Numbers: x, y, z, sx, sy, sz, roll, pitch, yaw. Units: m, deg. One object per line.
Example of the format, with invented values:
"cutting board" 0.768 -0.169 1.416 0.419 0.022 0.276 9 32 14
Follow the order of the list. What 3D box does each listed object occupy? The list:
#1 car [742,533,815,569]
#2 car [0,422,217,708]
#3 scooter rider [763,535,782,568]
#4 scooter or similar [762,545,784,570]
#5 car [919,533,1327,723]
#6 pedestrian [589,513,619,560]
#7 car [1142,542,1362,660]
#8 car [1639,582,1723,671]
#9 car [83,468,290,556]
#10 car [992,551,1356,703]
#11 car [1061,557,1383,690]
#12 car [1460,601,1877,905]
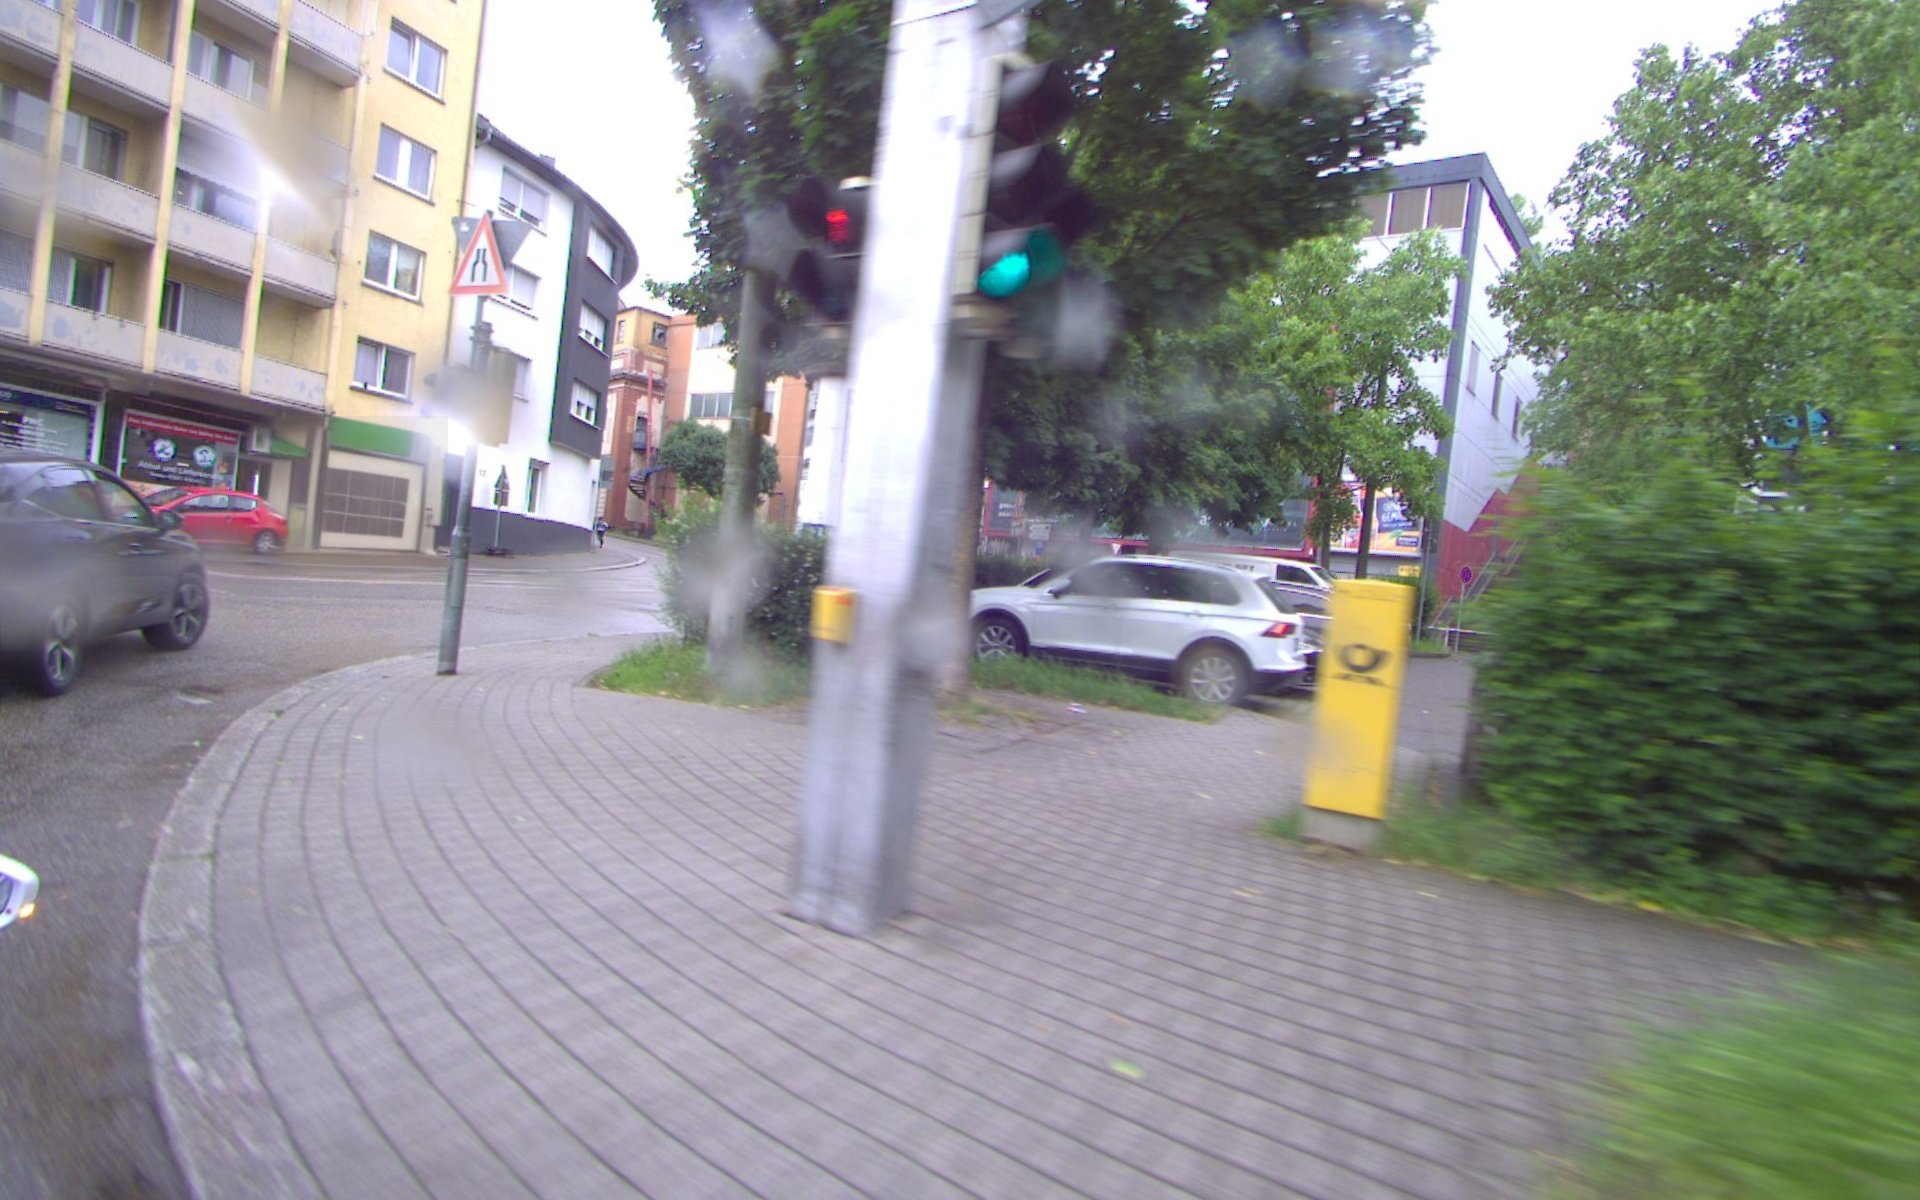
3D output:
"car" -10.894 -2.957 60.200 4.648 1.734 1.913 7 3 44
"car" -7.209 -0.397 7.339 1.940 1.674 3.976 5 1 -24
"scooter rider" -10.675 -2.768 57.285 0.664 1.831 0.678 3 4 -37
"scooter or similar" -10.671 -2.398 57.258 0.571 1.311 1.470 3 3 -36
"car" 1.989 0.222 12.415 4.551 1.696 1.805 6 4 23
"pedestrian" -16.589 -2.963 46.884 0.986 2.040 1.243 5 2 -30
"car" 6.170 -0.005 21.369 3.935 2.041 1.993 7 3 33
"car" 23.763 0.922 33.088 1.856 2.330 4.711 6 -3 39
"car" -17.927 -1.992 23.469 1.446 1.577 3.476 8 2 26
"car" 3.086 0.301 14.646 4.821 1.572 1.806 6 3 23
"car" 4.299 0.301 16.606 4.821 1.572 1.806 6 3 23
"car" 4.744 0.789 7.416 1.778 1.452 4.191 4 2 26
